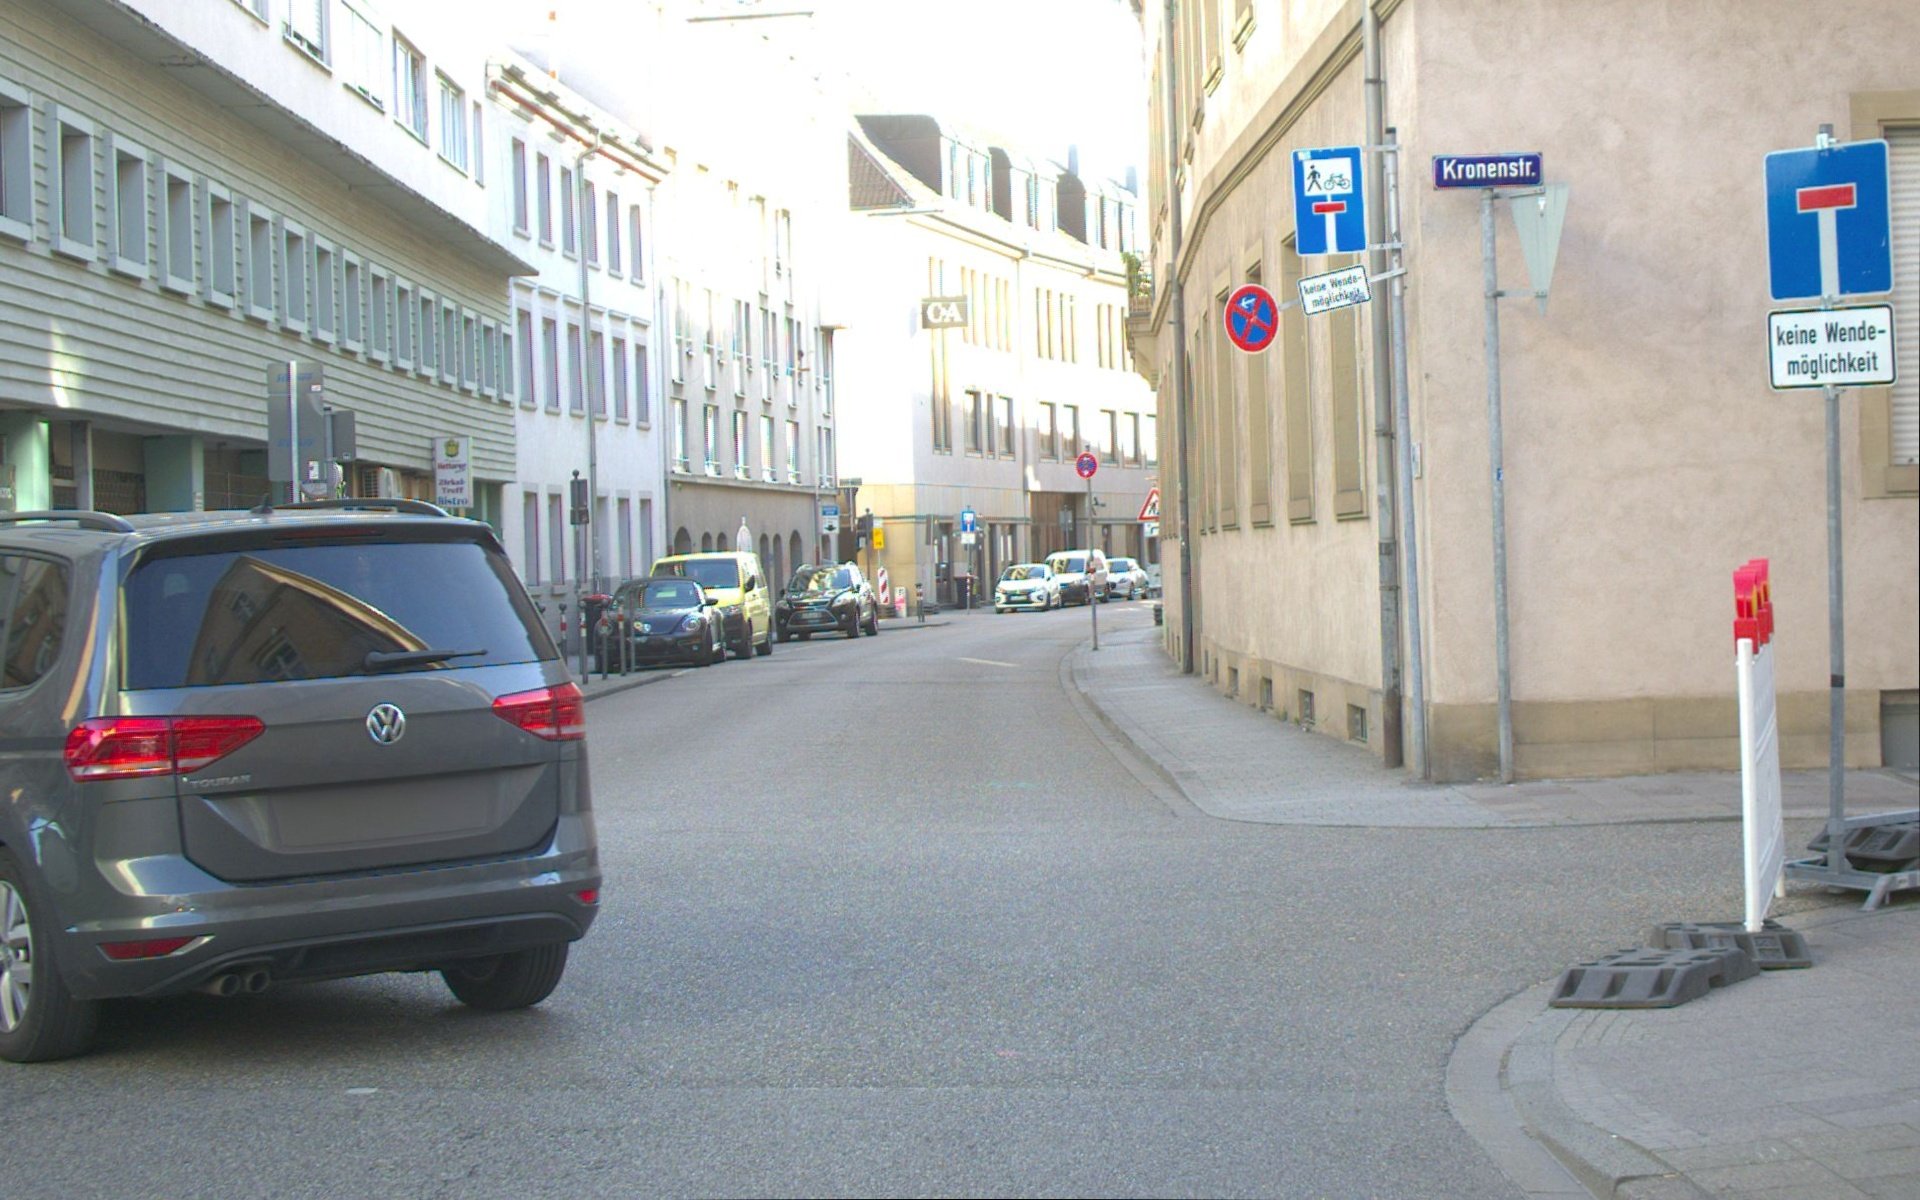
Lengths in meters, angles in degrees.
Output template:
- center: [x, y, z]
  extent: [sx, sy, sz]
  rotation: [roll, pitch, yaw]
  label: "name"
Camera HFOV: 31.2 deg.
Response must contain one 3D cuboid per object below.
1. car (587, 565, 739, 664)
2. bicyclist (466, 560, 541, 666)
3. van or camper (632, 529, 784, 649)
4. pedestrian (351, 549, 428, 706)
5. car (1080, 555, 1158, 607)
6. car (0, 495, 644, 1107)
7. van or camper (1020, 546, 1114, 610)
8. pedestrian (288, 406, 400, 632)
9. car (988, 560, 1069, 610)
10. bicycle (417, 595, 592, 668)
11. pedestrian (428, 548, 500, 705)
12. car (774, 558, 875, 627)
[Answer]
- center: [-4.745, 0.207, 55.412]
  extent: [1.866, 1.463, 3.833]
  rotation: [-1, 1, 4]
  label: "car"
- center: [-6.891, 0.192, 51.889]
  extent: [0.758, 1.556, 0.832]
  rotation: [-1, 1, 24]
  label: "bicyclist"
- center: [-4.436, -0.223, 61.149]
  extent: [1.994, 2.007, 4.482]
  rotation: [-2, 1, 5]
  label: "van or camper"
- center: [-6.191, 0.293, 37.324]
  extent: [0.712, 1.679, 0.480]
  rotation: [-2, 1, 0]
  label: "pedestrian"
- center: [5.561, -0.682, 119.778]
  extent: [1.827, 1.720, 3.997]
  rotation: [-1, 1, 16]
  label: "car"
- center: [-2.784, 0.500, 11.272]
  extent: [1.762, 1.601, 4.000]
  rotation: [-2, 2, -34]
  label: "car"
- center: [3.568, -0.741, 113.455]
  extent: [1.995, 2.007, 4.995]
  rotation: [-1, 1, 15]
  label: "van or camper"
- center: [-5.071, -0.666, 28.316]
  extent: [0.556, 1.823, 0.730]
  rotation: [-1, 1, 22]
  label: "pedestrian"
- center: [2.177, -0.482, 107.700]
  extent: [1.735, 1.463, 3.998]
  rotation: [-1, 1, 13]
  label: "car"
- center: [-6.875, 0.483, 51.895]
  extent: [2.544, 1.050, 0.832]
  rotation: [-1, 1, 25]
  label: "bicycle"
- center: [-5.392, 0.280, 37.395]
  extent: [0.662, 1.679, 0.480]
  rotation: [-2, 1, 0]
  label: "pedestrian"
- center: [-3.017, -0.191, 77.359]
  extent: [1.866, 1.463, 3.833]
  rotation: [-1, 1, 4]
  label: "car"
